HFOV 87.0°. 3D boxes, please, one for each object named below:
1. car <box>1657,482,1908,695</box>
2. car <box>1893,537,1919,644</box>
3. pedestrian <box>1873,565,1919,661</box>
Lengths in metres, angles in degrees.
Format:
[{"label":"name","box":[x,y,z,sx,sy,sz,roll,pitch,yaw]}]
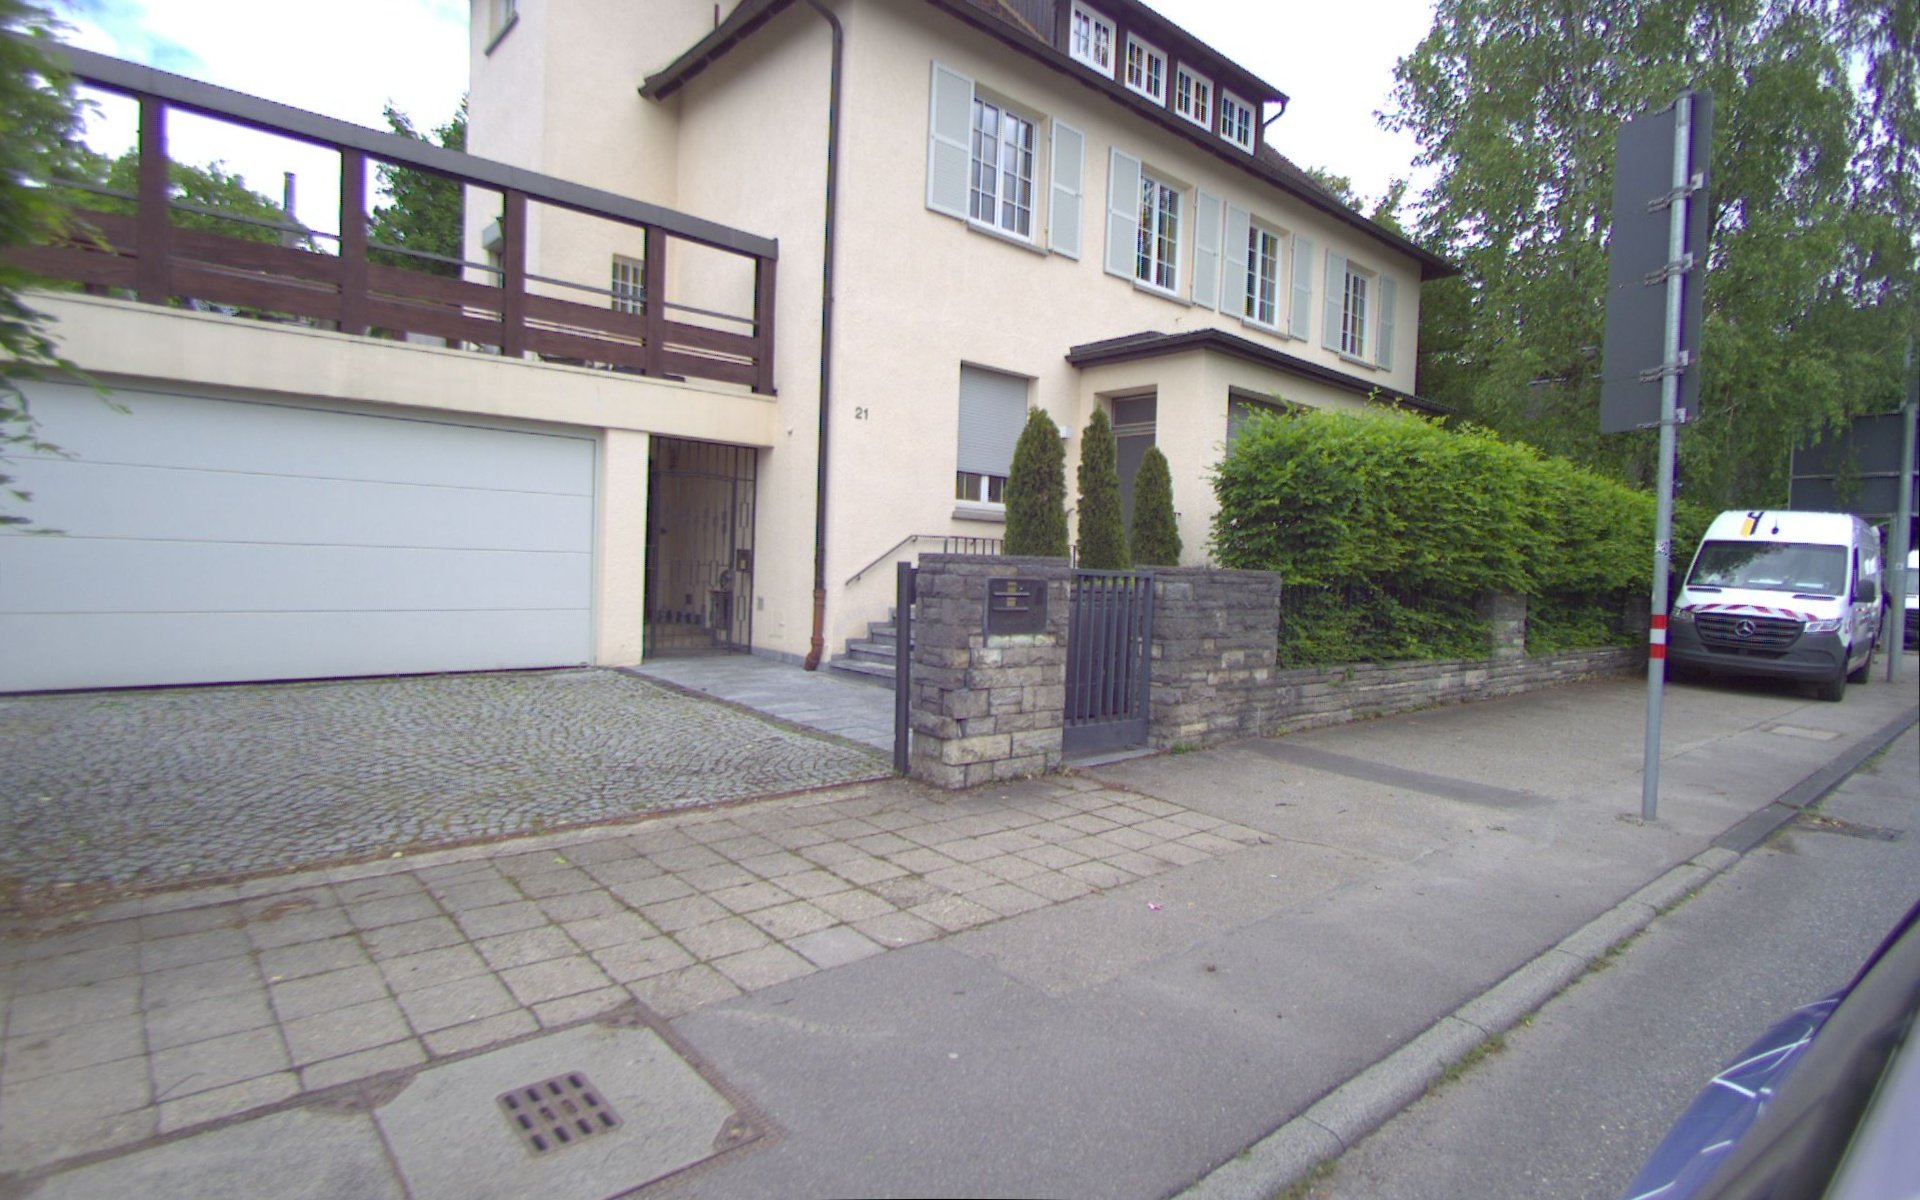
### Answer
[{"label":"car","box":[12.828,-0.234,15.561,6.571,2.636,2.092,-1,4,-44]},{"label":"car","box":[26.404,-0.215,26.614,5.864,2.634,2.045,-1,3,-42]},{"label":"pedestrian","box":[18.802,0.244,20.280,0.774,1.853,0.639,0,2,-44]}]
